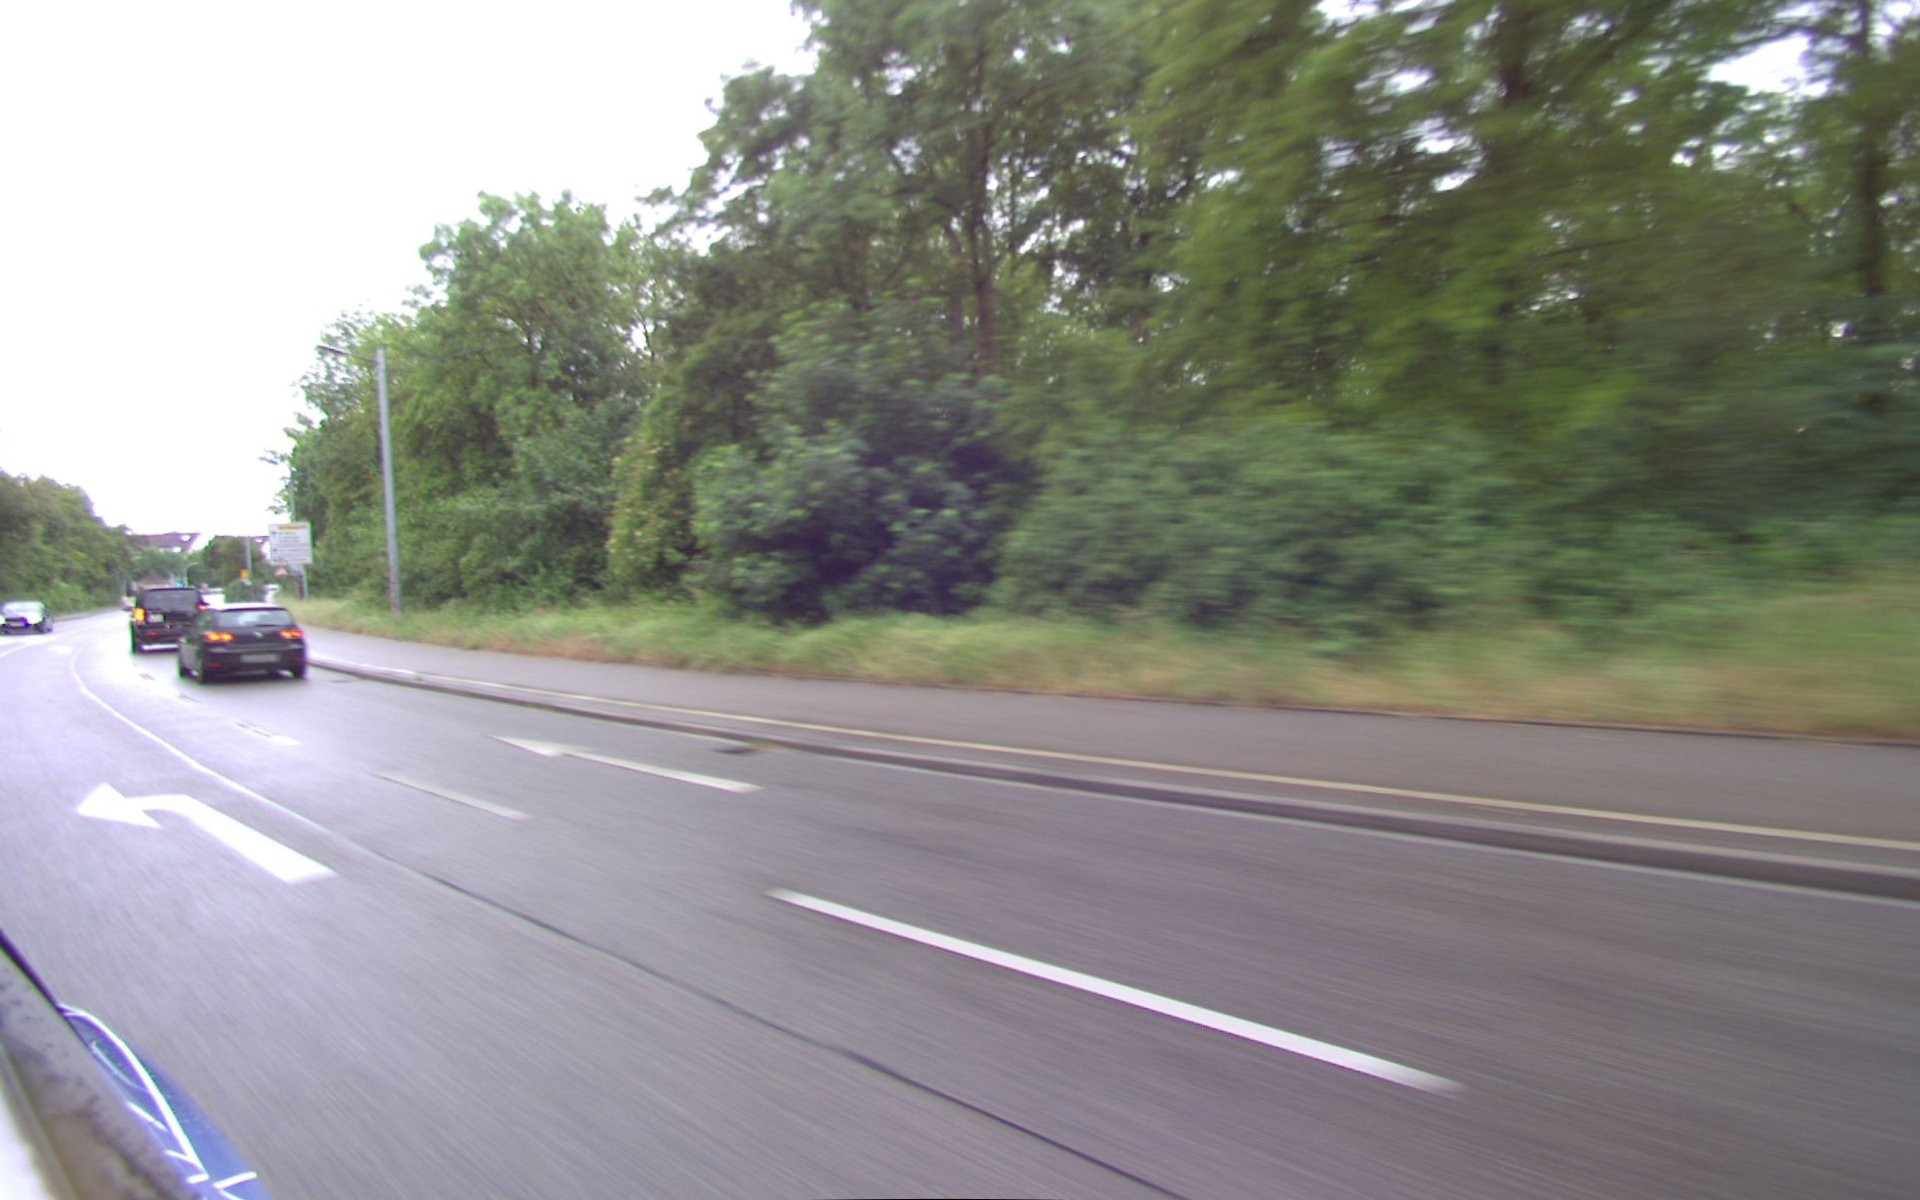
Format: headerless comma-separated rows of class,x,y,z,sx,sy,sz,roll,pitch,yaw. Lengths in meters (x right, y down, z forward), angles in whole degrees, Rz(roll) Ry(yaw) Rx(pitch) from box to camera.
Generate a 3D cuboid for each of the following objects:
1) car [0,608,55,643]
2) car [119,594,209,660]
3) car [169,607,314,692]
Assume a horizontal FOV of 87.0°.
car,-42.727,1.193,46.249,1.804,1.532,4.007,3,-4,-39
car,-24.265,0.868,30.793,1.805,1.857,4.717,3,-4,-42
car,-14.430,0.968,20.240,1.805,1.451,4.004,-3,0,-43
